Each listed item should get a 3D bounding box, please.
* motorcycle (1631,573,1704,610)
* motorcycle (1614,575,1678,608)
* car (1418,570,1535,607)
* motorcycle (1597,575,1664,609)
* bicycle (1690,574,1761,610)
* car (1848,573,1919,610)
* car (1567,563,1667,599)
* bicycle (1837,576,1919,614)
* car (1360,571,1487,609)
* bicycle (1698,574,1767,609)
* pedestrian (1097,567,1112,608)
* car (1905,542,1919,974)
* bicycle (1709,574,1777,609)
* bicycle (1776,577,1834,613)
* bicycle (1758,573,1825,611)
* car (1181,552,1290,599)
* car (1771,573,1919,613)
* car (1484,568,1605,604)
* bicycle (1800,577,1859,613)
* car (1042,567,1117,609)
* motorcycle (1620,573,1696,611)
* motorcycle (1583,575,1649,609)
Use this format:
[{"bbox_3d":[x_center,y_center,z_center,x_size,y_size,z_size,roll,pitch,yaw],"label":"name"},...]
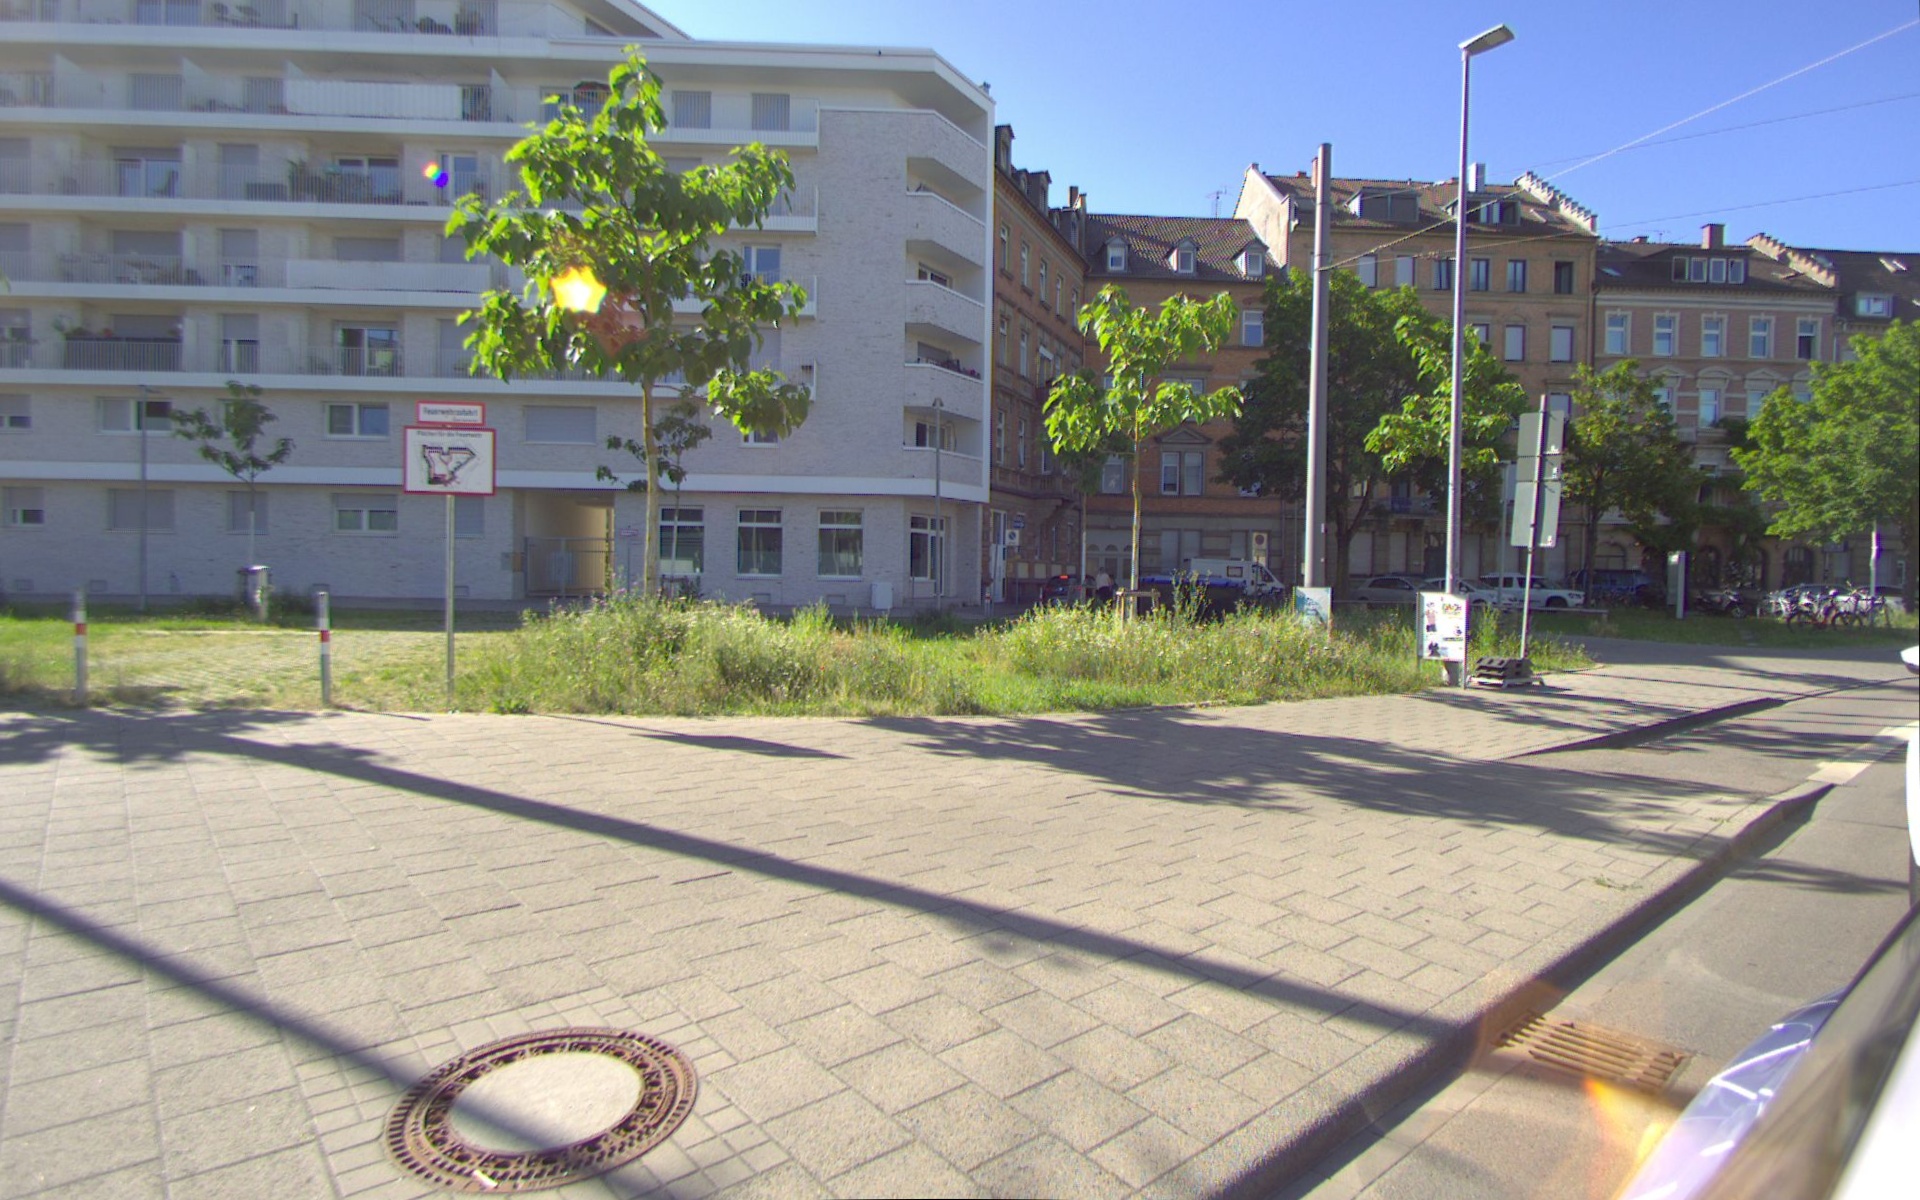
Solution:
[{"bbox_3d":[26.162,-0.317,37.470,0.649,1.339,2.208,0,0,-23],"label":"motorcycle"},{"bbox_3d":[27.495,-0.331,40.612,0.649,1.284,2.209,0,0,-18],"label":"motorcycle"},{"bbox_3d":[19.680,-0.464,38.719,1.648,1.267,3.709,0,3,-28],"label":"car"},{"bbox_3d":[26.705,-0.332,40.358,0.649,1.300,2.324,0,0,-18],"label":"motorcycle"},{"bbox_3d":[28.377,-0.306,37.566,0.649,1.284,2.208,0,0,-11],"label":"bicycle"},{"bbox_3d":[37.830,-0.325,39.963,1.649,1.423,3.832,-1,3,-32],"label":"car"},{"bbox_3d":[30.883,-0.916,47.651,3.631,1.607,1.552,1,2,0],"label":"car"},{"bbox_3d":[31.637,-0.163,34.764,2.180,1.284,0.657,0,0,25],"label":"bicycle"},{"bbox_3d":[17.356,-0.418,38.109,1.648,1.267,4.170,0,3,-28],"label":"car"},{"bbox_3d":[29.088,-0.316,38.153,0.649,1.284,2.208,0,0,-9],"label":"bicycle"},{"bbox_3d":[5.246,-0.453,36.732,0.500,1.474,0.480,0,0,11],"label":"pedestrian"},{"bbox_3d":[5.875,0.608,4.718,4.323,1.667,1.840,0,0,-43],"label":"car"},{"bbox_3d":[29.731,-0.322,38.464,0.649,1.284,2.208,0,0,-9],"label":"bicycle"},{"bbox_3d":[30.948,-0.181,37.112,0.653,1.284,2.196,0,0,12],"label":"bicycle"},{"bbox_3d":[29.281,-0.288,35.675,0.651,1.284,2.202,0,0,4],"label":"bicycle"},{"bbox_3d":[12.668,-1.149,46.785,4.416,2.062,2.054,1,2,0],"label":"car"},{"bbox_3d":[34.693,-0.316,39.593,1.651,1.423,4.324,-1,3,-38],"label":"car"},{"bbox_3d":[22.336,-0.574,38.775,1.513,1.267,3.700,-1,3,-39],"label":"car"},{"bbox_3d":[32.042,-0.189,37.335,0.653,1.284,2.196,0,0,12],"label":"bicycle"},{"bbox_3d":[4.574,-0.501,38.300,1.811,1.444,4.359,1,2,21],"label":"car"},{"bbox_3d":[25.346,-0.302,36.781,0.650,1.347,2.207,0,0,-28],"label":"motorcycle"},{"bbox_3d":[26.034,-0.324,40.227,0.649,1.293,2.324,0,0,-18],"label":"motorcycle"}]
